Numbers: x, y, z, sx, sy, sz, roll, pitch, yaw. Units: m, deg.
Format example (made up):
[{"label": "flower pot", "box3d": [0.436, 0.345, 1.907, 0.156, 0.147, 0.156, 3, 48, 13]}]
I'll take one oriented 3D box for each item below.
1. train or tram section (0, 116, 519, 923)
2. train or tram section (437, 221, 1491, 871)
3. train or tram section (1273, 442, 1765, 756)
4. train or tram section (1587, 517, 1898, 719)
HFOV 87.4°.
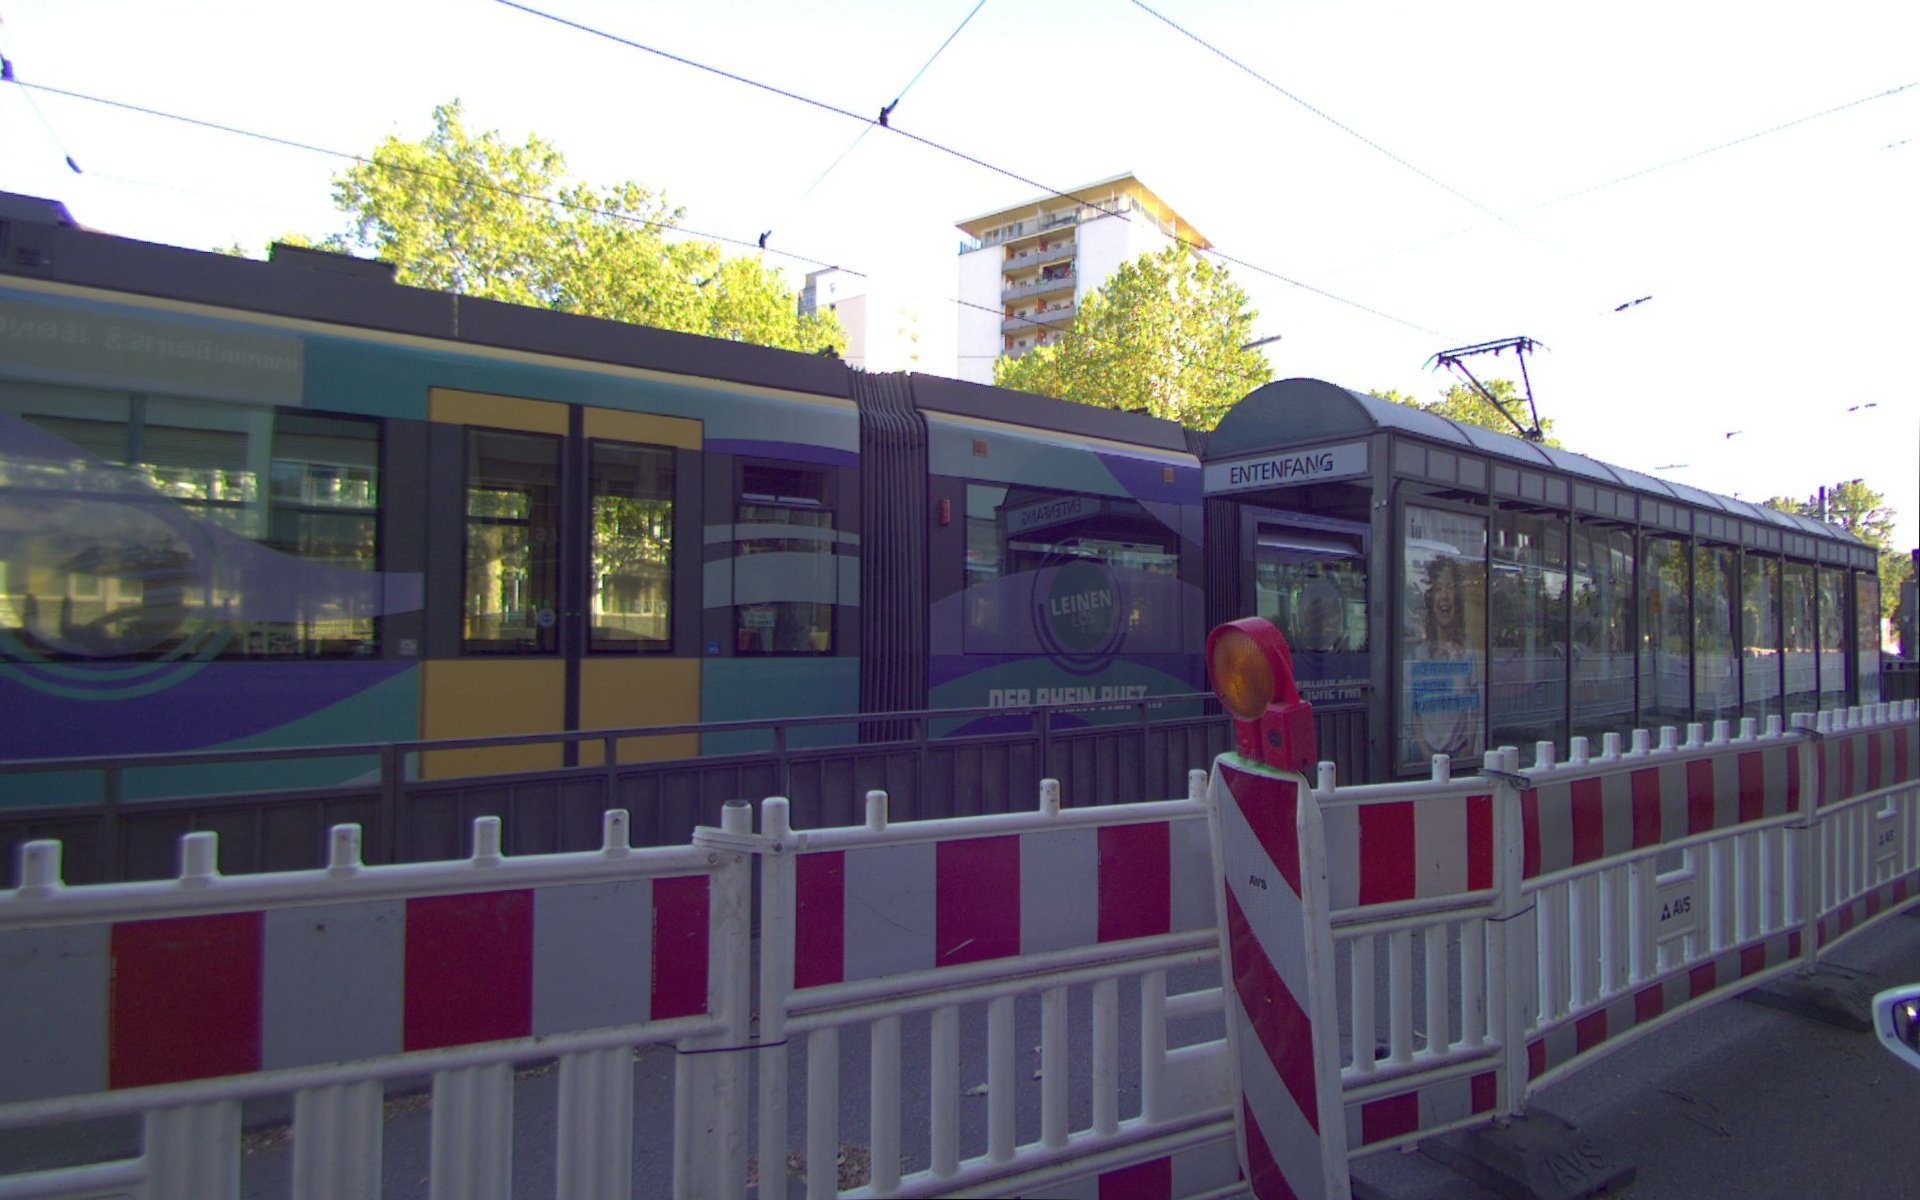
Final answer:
[{"label": "train or tram section", "box3d": [-7.494, -0.422, 3.937, 10.227, 3.533, 2.819, 2, -1, -33]}, {"label": "train or tram section", "box3d": [0.957, -0.152, 9.558, 10.233, 3.533, 2.853, 2, -1, -35]}, {"label": "train or tram section", "box3d": [9.156, 0.135, 15.566, 10.244, 3.533, 2.815, 2, -1, -37]}, {"label": "train or tram section", "box3d": [17.257, 0.465, 21.756, 10.243, 3.533, 2.796, 2, -1, -37]}]
